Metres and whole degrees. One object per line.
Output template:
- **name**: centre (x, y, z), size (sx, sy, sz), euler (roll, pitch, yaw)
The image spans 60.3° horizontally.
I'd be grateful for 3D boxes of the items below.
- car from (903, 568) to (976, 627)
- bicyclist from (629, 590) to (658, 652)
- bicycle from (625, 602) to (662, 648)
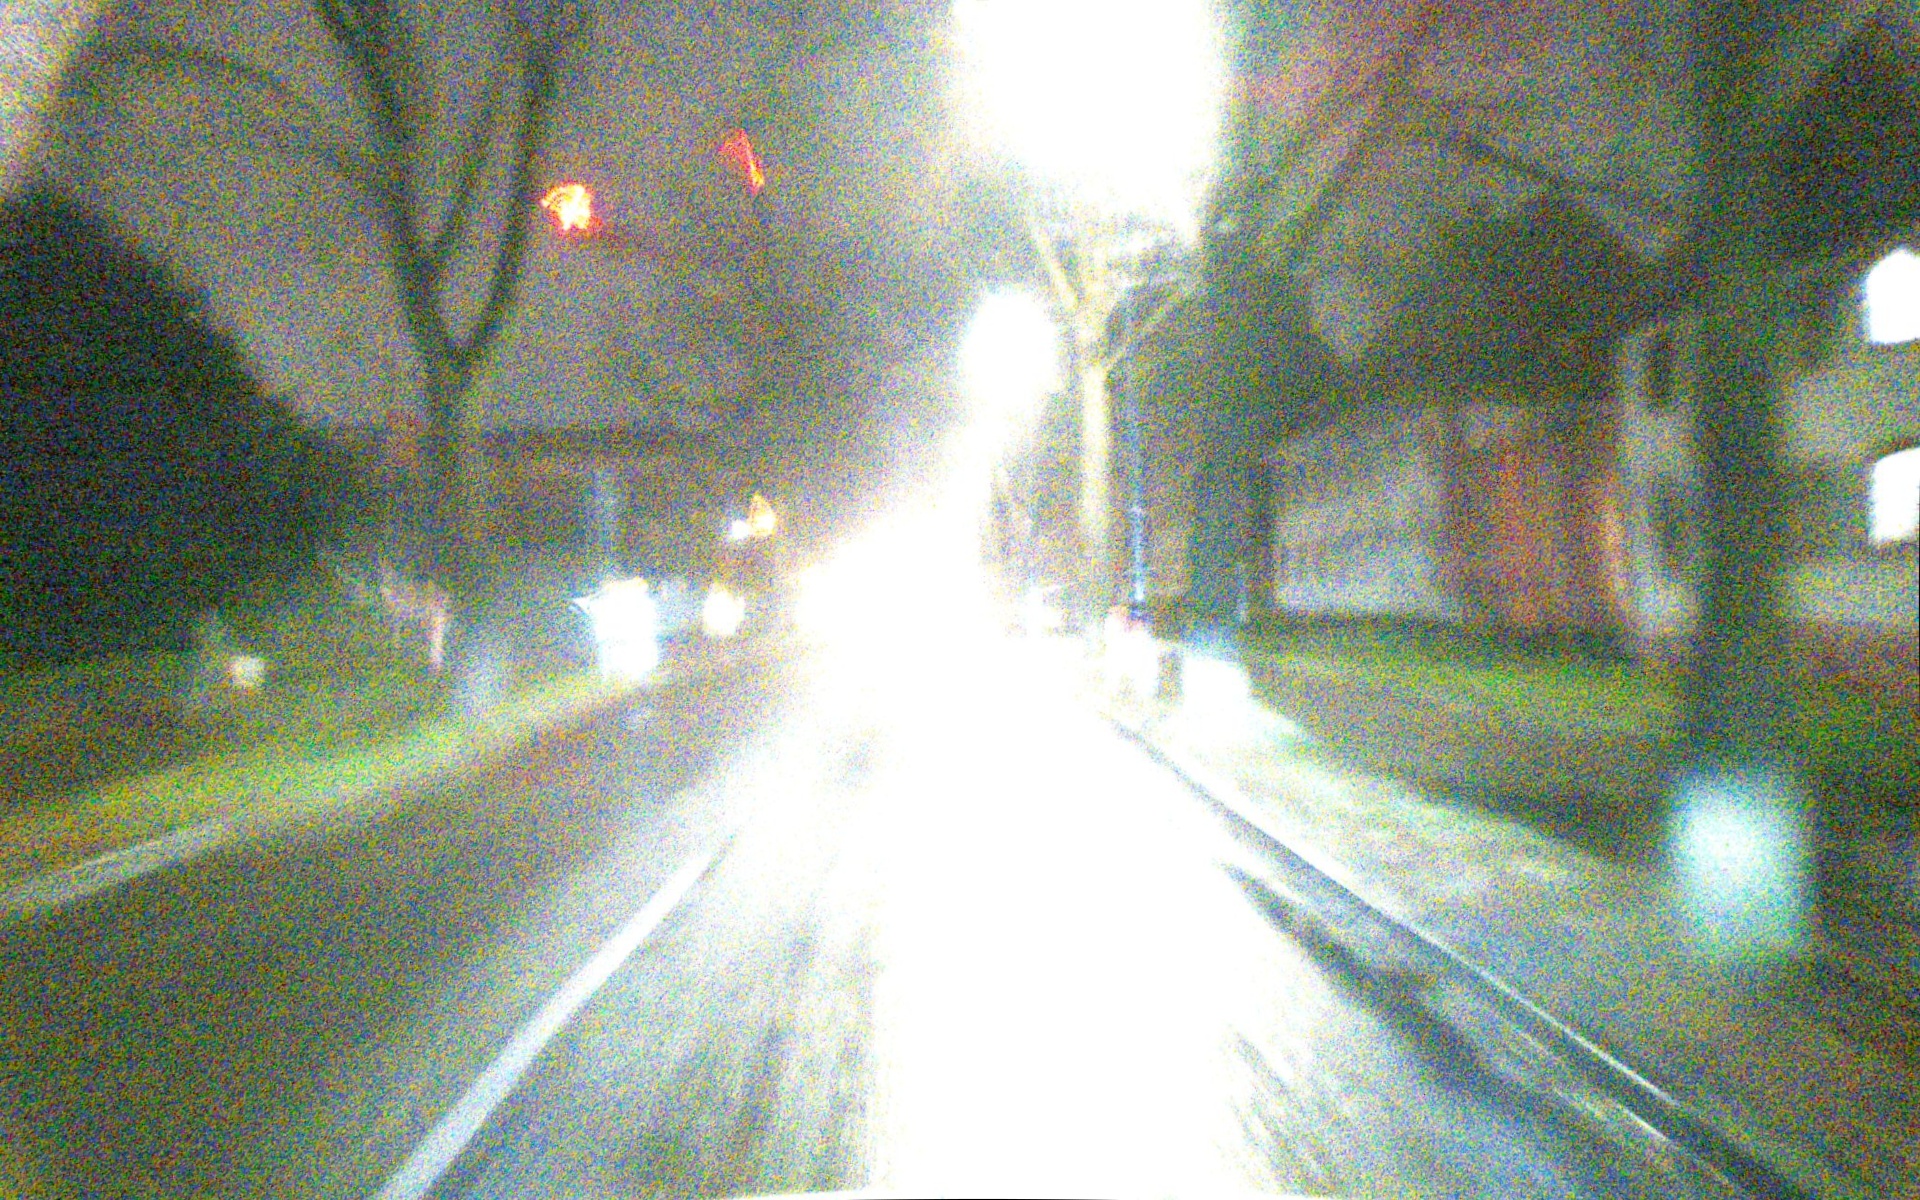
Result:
- **car**: centre (-0.675, -0.091, 51.492), size (1.954, 1.713, 3.996), euler (1, 0, -5)
- **bicyclist**: centre (-8.628, 0.558, 45.083), size (0.623, 1.622, 0.960), euler (1, 2, -2)
- **bicycle**: centre (-8.649, 0.675, 45.283), size (0.617, 1.181, 2.313), euler (1, 1, -2)
